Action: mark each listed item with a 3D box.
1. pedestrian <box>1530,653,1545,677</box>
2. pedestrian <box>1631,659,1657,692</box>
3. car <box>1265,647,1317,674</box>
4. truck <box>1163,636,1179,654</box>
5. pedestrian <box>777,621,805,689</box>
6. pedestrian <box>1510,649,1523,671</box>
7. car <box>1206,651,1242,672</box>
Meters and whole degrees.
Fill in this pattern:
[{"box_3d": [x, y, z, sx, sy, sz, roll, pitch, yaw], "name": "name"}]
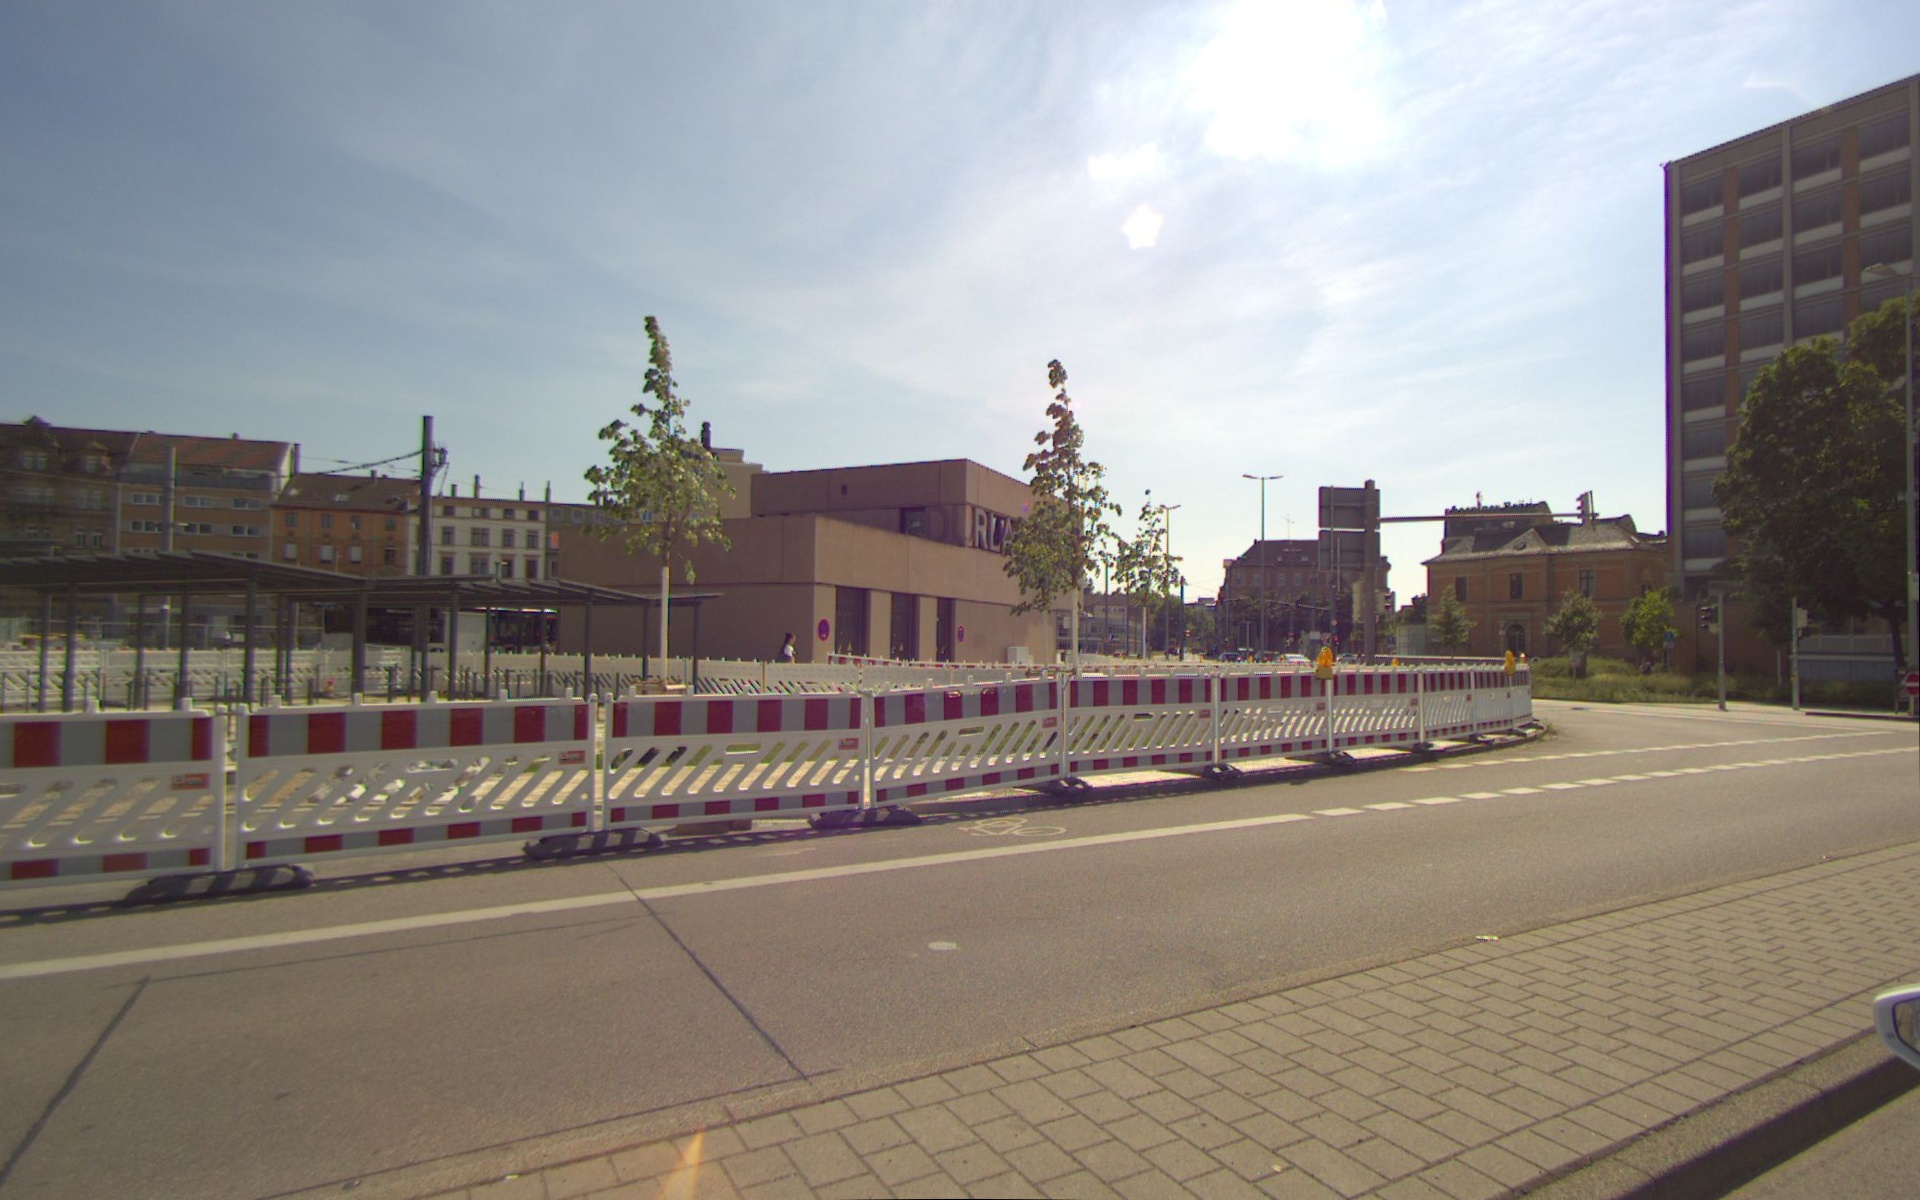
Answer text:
[{"box_3d": [42.200, 4.721, 73.398, 0.638, 1.683, 0.650, 2, 0, -3], "name": "pedestrian"}, {"box_3d": [37.199, 4.102, 54.636, 0.857, 1.748, 0.799, 2, -2, -7], "name": "pedestrian"}, {"box_3d": [23.366, 4.245, 71.023, 1.963, 1.839, 3.996, 2, -3, -7], "name": "car"}, {"box_3d": [44.827, 9.649, 213.821, 3.011, 3.779, 7.937, 1, -3, 10], "name": "truck"}, {"box_3d": [-4.027, 1.311, 23.921, 0.415, 1.585, 0.558, 0, -2, 17], "name": "pedestrian"}, {"box_3d": [44.295, 4.775, 79.967, 0.641, 1.683, 0.647, 2, -3, -22], "name": "pedestrian"}, {"box_3d": [20.599, 4.808, 78.572, 1.764, 1.530, 4.002, 1, -3, 1], "name": "car"}]
